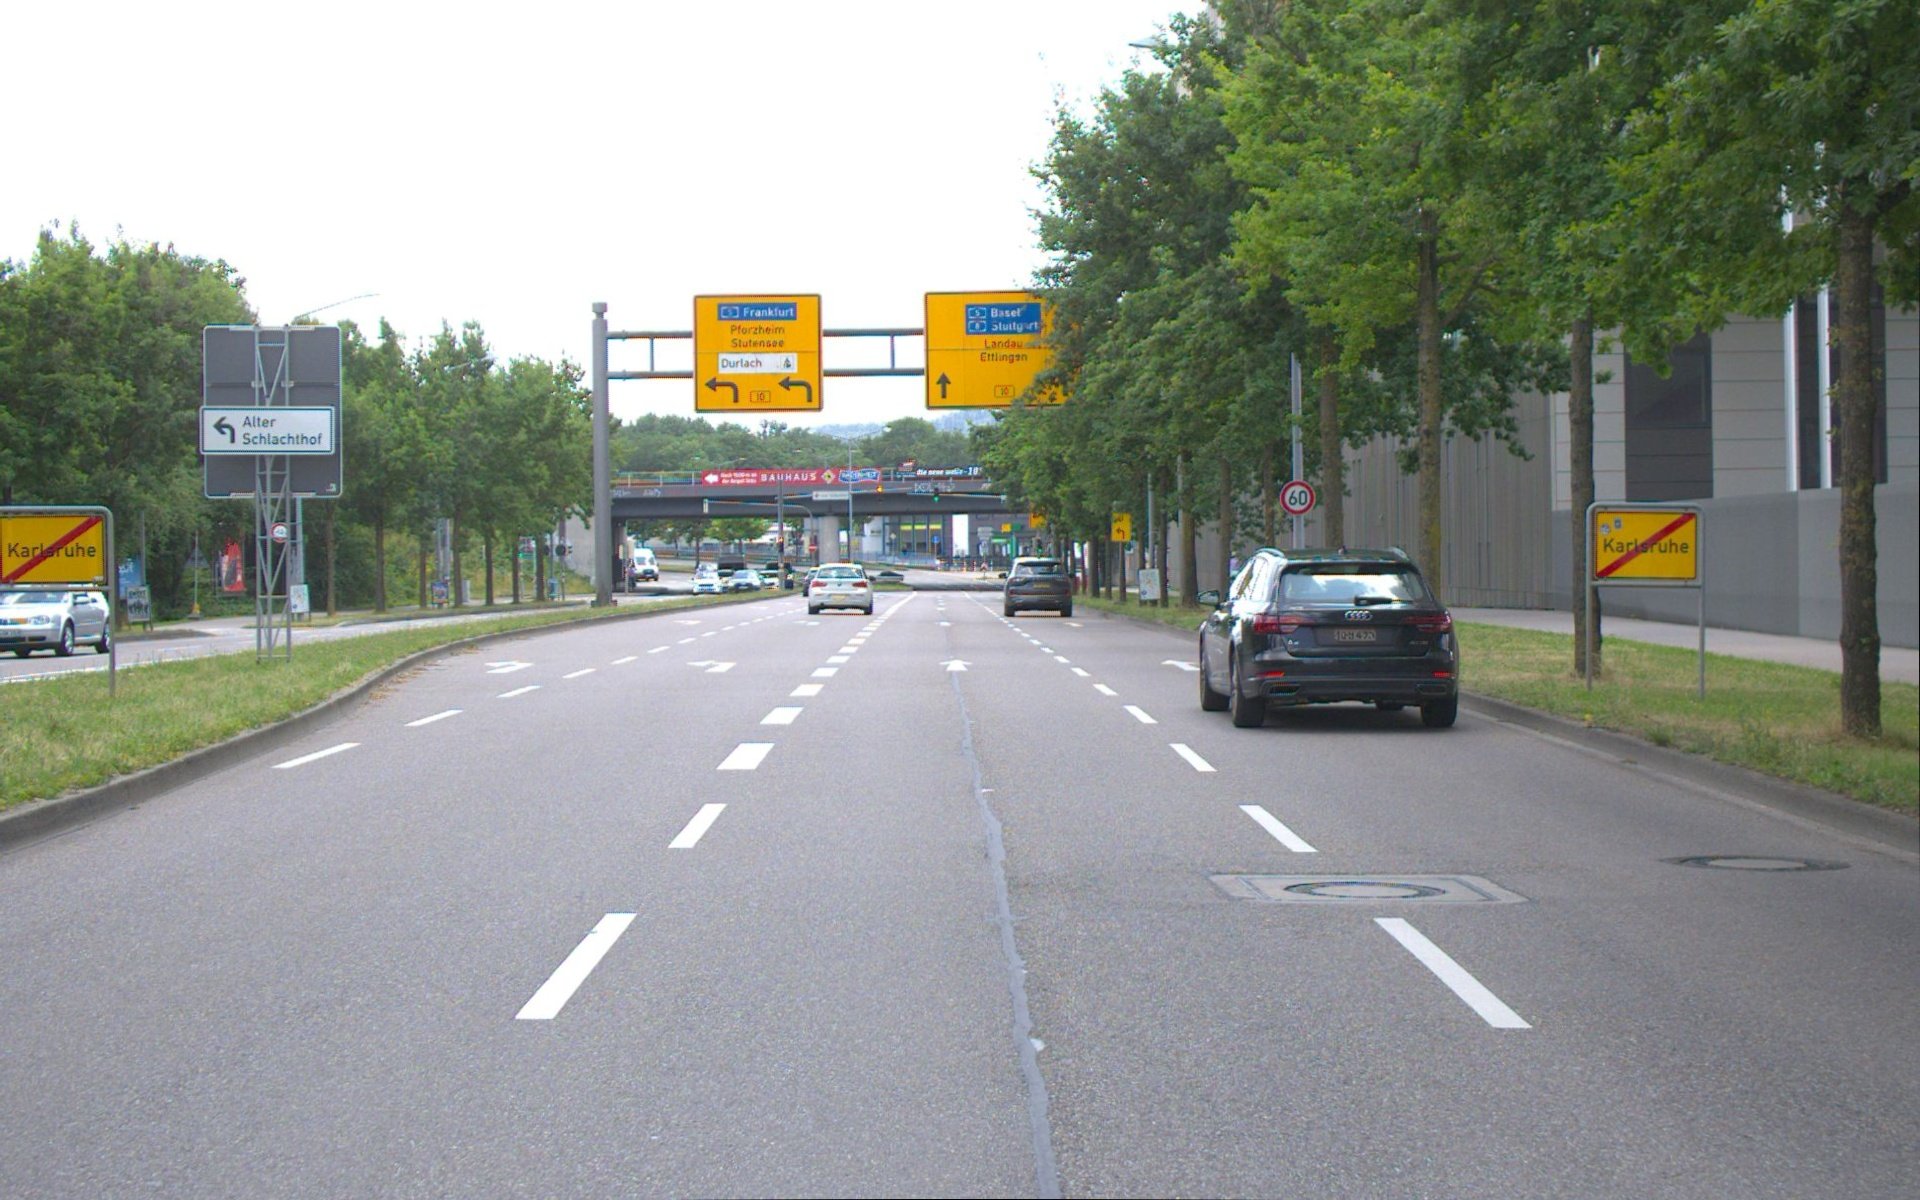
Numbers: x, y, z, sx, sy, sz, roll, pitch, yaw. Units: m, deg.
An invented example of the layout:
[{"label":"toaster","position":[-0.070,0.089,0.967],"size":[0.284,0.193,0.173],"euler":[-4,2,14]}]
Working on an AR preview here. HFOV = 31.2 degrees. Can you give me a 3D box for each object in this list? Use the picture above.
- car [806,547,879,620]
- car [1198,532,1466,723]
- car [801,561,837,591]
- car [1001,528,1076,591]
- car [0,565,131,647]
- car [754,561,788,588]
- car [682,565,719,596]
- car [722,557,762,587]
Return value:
[{"label":"car","position":[-3.353,-0.487,97.354],"size":[1.993,2.007,4.001],"euler":[1,1,-3]},{"label":"car","position":[3.011,0.191,28.569],"size":[1.684,1.458,4.000],"euler":[1,1,-1]},{"label":"car","position":[-7.051,-1.205,171.591],"size":[1.774,1.458,4.001],"euler":[1,1,-3]},{"label":"car","position":[2.203,-1.143,95.538],"size":[1.993,1.620,4.309],"euler":[-1,2,2]},{"label":"car","position":[-16.060,0.090,60.539],"size":[1.640,1.324,4.381],"euler":[-1,1,3]},{"label":"car","position":[-12.283,-1.635,223.279],"size":[1.993,1.711,4.000],"euler":[1,0,0]},{"label":"car","position":[-15.621,-1.162,206.956],"size":[1.993,1.777,4.000],"euler":[1,0,-1]},{"label":"car","position":[-12.478,-1.613,196.961],"size":[1.993,1.612,4.000],"euler":[-1,1,1]}]
